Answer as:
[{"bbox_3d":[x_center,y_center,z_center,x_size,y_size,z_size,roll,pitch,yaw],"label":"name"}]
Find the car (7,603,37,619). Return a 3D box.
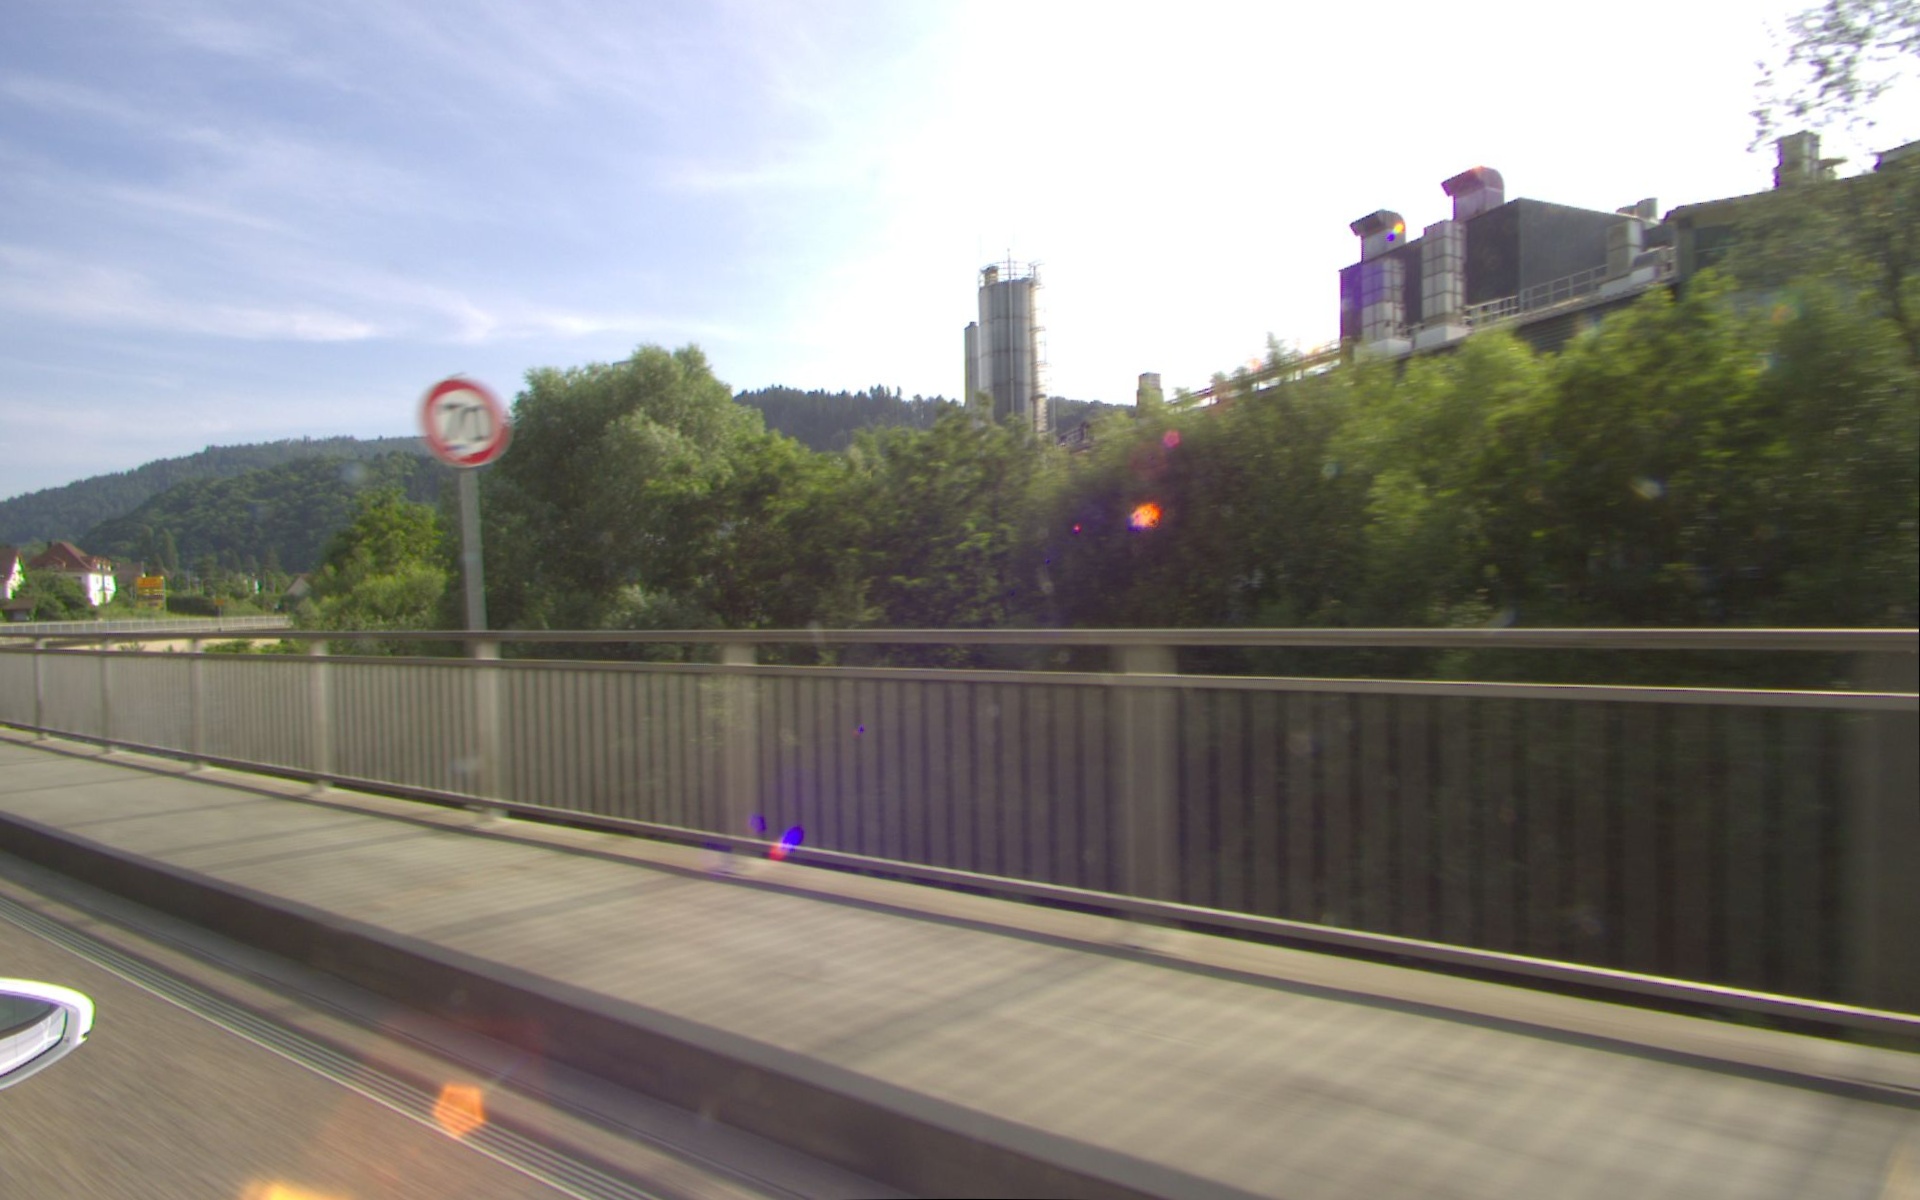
[{"bbox_3d":[-130.561,1.556,139.385,1.974,1.903,3.981,7,-5,-29],"label":"car"}]
